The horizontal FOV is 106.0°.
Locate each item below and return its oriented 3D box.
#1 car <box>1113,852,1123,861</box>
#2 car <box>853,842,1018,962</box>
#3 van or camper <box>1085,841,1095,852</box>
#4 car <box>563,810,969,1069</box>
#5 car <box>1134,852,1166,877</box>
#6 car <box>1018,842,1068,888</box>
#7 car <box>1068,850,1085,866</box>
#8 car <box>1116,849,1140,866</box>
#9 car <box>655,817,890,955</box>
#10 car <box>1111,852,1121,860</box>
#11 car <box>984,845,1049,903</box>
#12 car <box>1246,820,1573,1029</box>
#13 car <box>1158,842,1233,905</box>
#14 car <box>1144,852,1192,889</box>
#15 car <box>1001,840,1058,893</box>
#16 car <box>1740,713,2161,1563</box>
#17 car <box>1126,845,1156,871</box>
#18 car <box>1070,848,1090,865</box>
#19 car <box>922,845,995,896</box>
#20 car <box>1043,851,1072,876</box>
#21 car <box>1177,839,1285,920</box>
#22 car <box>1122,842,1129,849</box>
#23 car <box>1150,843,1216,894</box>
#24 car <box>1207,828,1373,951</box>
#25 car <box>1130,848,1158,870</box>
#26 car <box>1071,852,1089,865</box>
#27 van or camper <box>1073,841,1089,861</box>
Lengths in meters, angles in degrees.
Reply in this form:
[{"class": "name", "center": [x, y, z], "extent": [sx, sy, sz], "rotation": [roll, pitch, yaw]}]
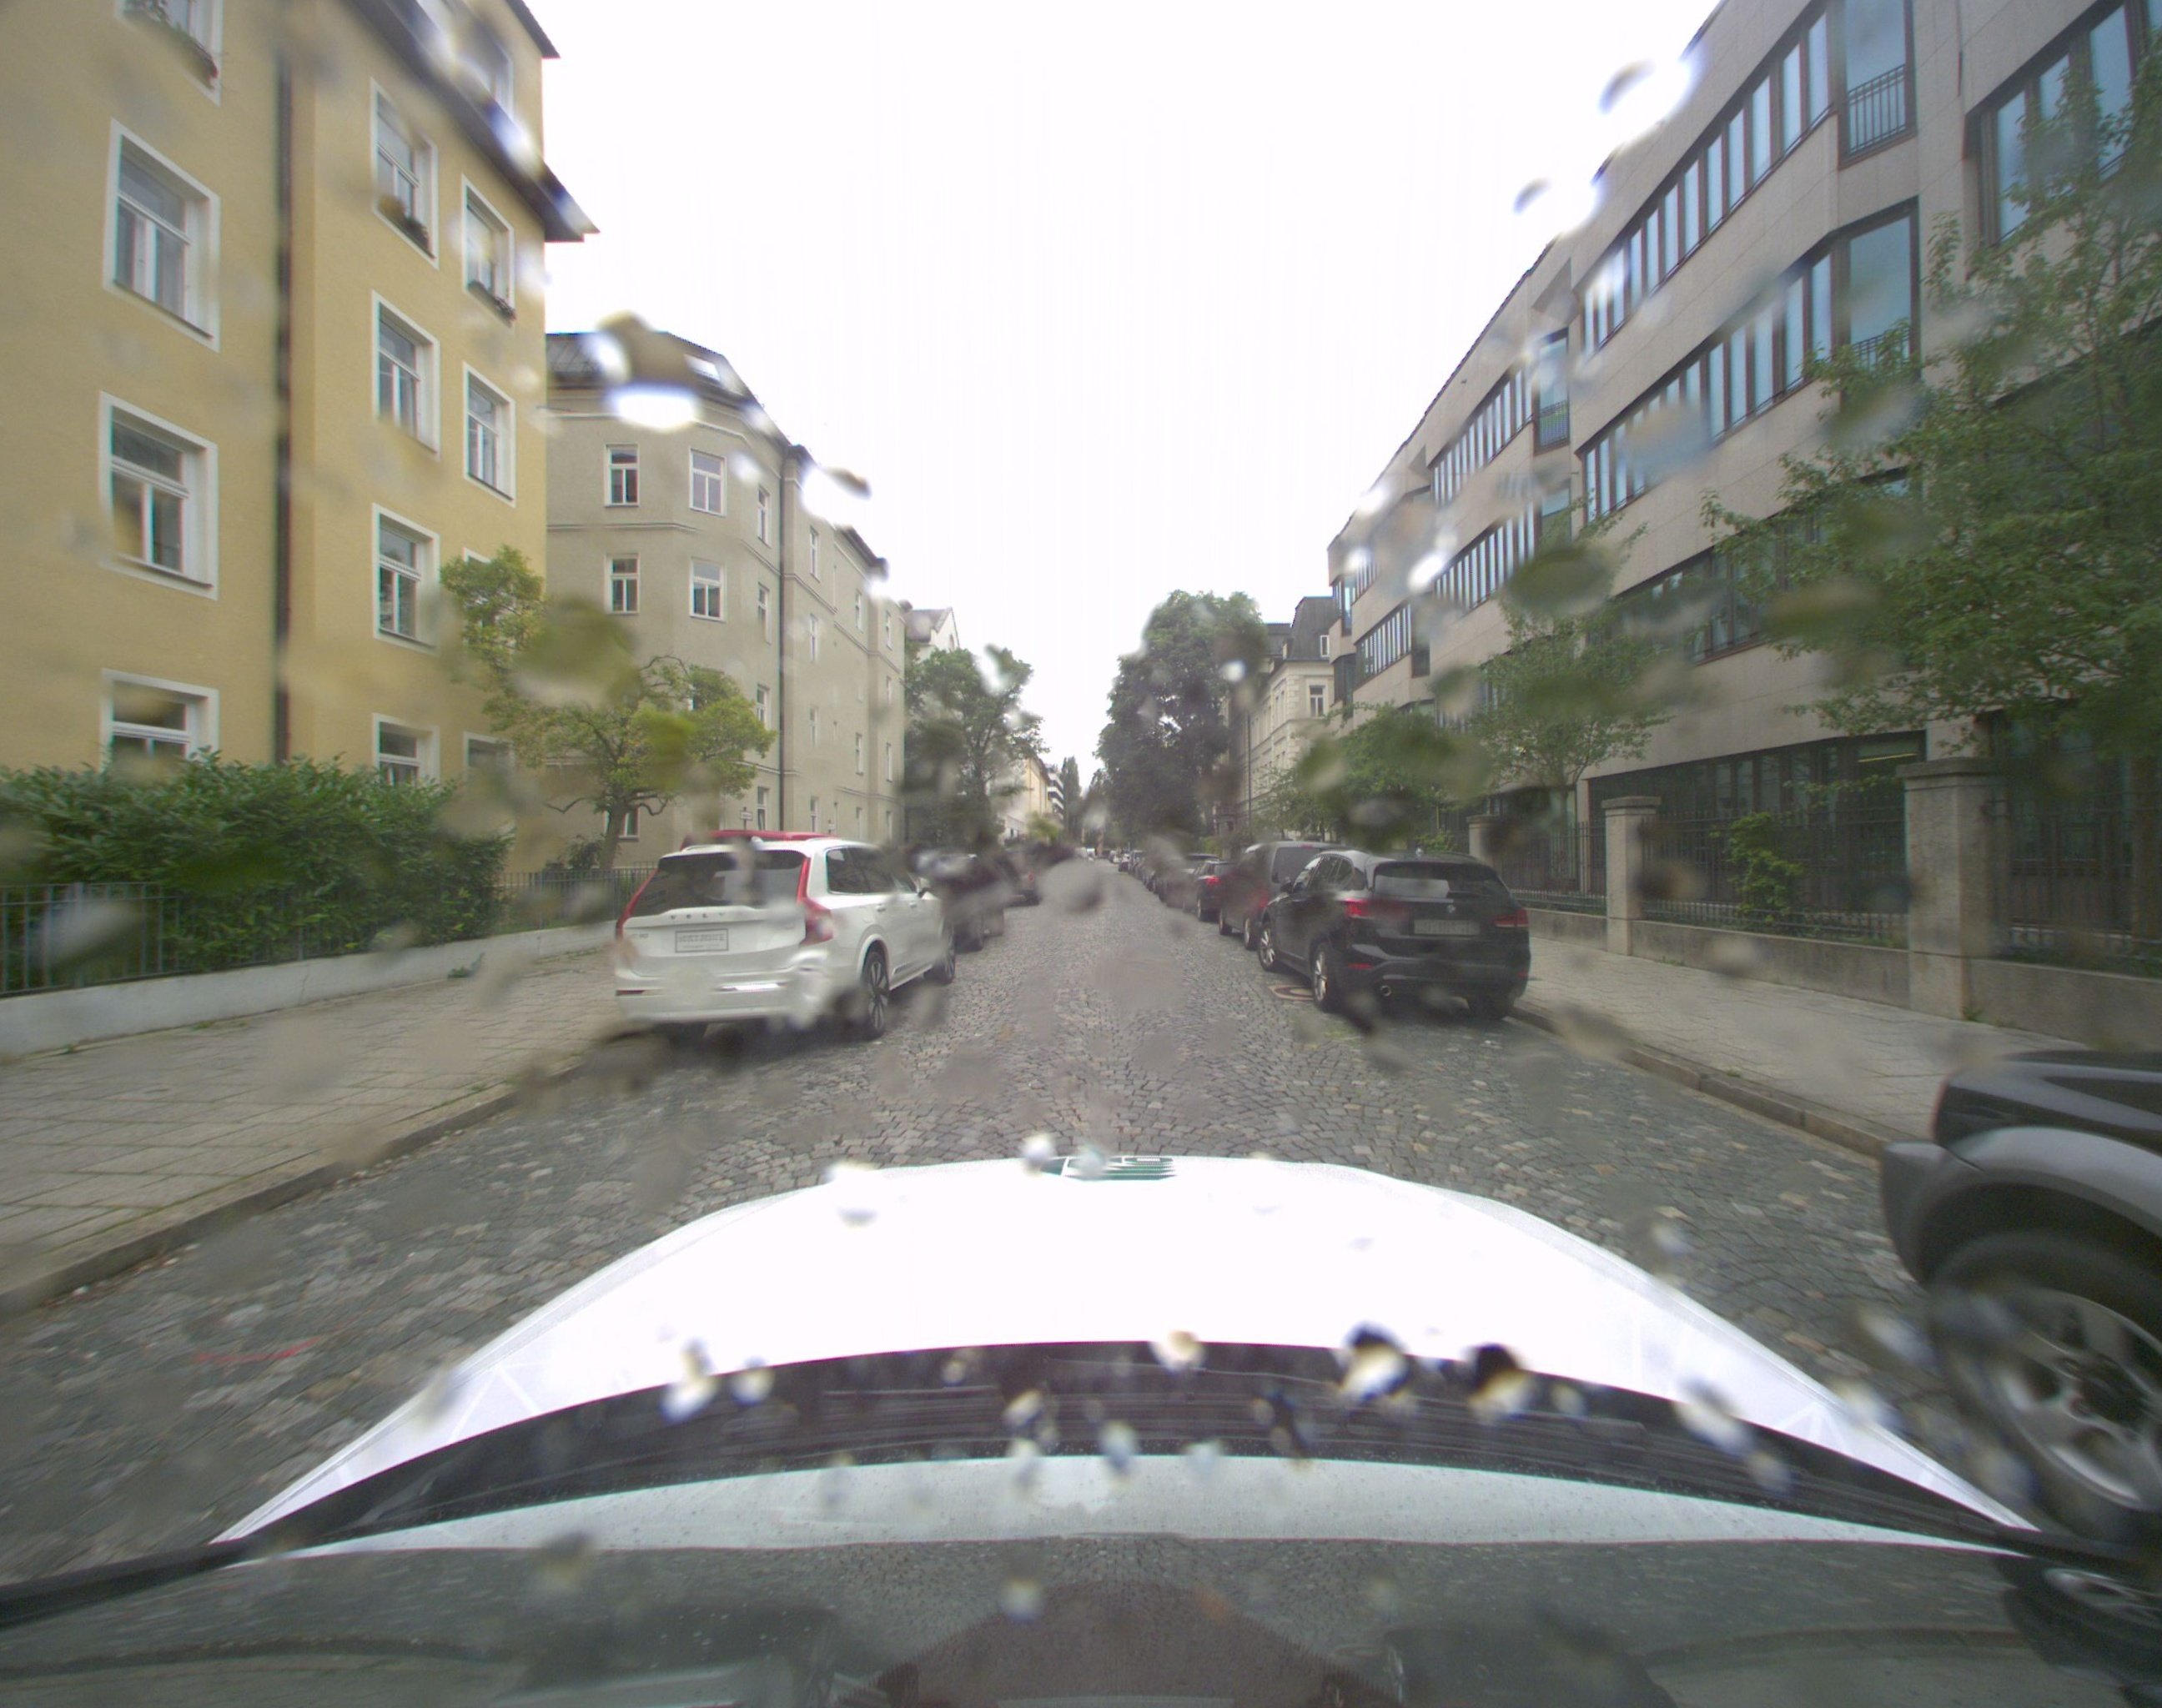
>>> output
[{"class": "car", "center": [6.255, 0.436, 138.051], "extent": [1.783, 1.520, 4.002], "rotation": [-1, 0, 2]}, {"class": "car", "center": [-2.465, 0.749, 15.114], "extent": [1.910, 1.735, 4.758], "rotation": [-5, 0, 2]}, {"class": "van or camper", "center": [2.188, -1.807, 201.680], "extent": [2.247, 2.742, 5.100], "rotation": [0, 0, 2]}, {"class": "car", "center": [-2.670, 0.626, 8.550], "extent": [1.998, 1.809, 5.177], "rotation": [-3, 0, 2]}, {"class": "car", "center": [4.331, 0.611, 51.708], "extent": [1.707, 1.472, 4.269], "rotation": [2, 0, 0]}, {"class": "car", "center": [-1.762, 0.498, 39.570], "extent": [1.986, 1.917, 5.177], "rotation": [-4, 0, 1]}, {"class": "car", "center": [-0.490, 0.430, 96.656], "extent": [1.867, 1.776, 4.122], "rotation": [-4, 0, 0]}, {"class": "car", "center": [4.395, 0.320, 76.374], "extent": [1.867, 1.503, 4.510], "rotation": [2, 0, -1]}, {"class": "car", "center": [-4.982, 0.446, 14.156], "extent": [1.987, 1.931, 5.330], "rotation": [1, 0, 0]}, {"class": "car", "center": [6.789, 0.388, 158.633], "extent": [1.783, 1.520, 4.002], "rotation": [-1, 0, 2]}, {"class": "car", "center": [-2.143, 0.627, 28.184], "extent": [1.860, 1.735, 4.401], "rotation": [-3, 0, -1]}, {"class": "car", "center": [3.268, 0.592, 9.301], "extent": [1.854, 1.702, 4.814], "rotation": [2, 0, 1]}, {"class": "car", "center": [3.497, 0.553, 25.637], "extent": [1.865, 1.735, 4.895], "rotation": [1, 0, 3]}, {"class": "car", "center": [3.854, 0.673, 36.723], "extent": [1.865, 1.490, 4.621], "rotation": [1, 1, 3]}, {"class": "car", "center": [-1.994, 0.472, 33.006], "extent": [1.867, 1.917, 4.827], "rotation": [-3, 0, 1]}, {"class": "car", "center": [3.047, 0.610, 0.817], "extent": [1.613, 1.751, 3.887], "rotation": [2, 0, 0]}, {"class": "car", "center": [4.699, 0.305, 64.301], "extent": [1.867, 1.928, 5.162], "rotation": [2, 0, -1]}, {"class": "car", "center": [-0.140, 0.210, 84.092], "extent": [1.867, 1.580, 4.254], "rotation": [-4, 0, -1]}, {"class": "car", "center": [-4.526, 0.567, 30.714], "extent": [1.938, 1.735, 4.657], "rotation": [2, 0, 1]}, {"class": "car", "center": [-1.451, 0.571, 50.312], "extent": [1.658, 1.444, 4.169], "rotation": [-2, 0, -2]}, {"class": "car", "center": [3.644, 0.573, 20.658], "extent": [1.867, 1.735, 4.659], "rotation": [3, 0, 1]}, {"class": "car", "center": [13.146, -2.564, 241.015], "extent": [1.986, 2.014, 4.002], "rotation": [0, 0, 2]}, {"class": "car", "center": [3.865, 0.523, 31.588], "extent": [1.867, 1.735, 4.746], "rotation": [3, 0, -1]}, {"class": "car", "center": [3.554, 0.544, 14.740], "extent": [1.782, 1.796, 4.509], "rotation": [3, 0, 0]}, {"class": "car", "center": [4.521, 0.368, 58.729], "extent": [1.830, 1.490, 4.424], "rotation": [2, 0, 2]}, {"class": "car", "center": [-0.131, 0.563, 102.154], "extent": [1.864, 1.580, 4.213], "rotation": [1, 0, 5]}, {"class": "van or camper", "center": [0.013, -0.462, 117.107], "extent": [1.986, 2.652, 4.002], "rotation": [-4, 0, 2]}]
